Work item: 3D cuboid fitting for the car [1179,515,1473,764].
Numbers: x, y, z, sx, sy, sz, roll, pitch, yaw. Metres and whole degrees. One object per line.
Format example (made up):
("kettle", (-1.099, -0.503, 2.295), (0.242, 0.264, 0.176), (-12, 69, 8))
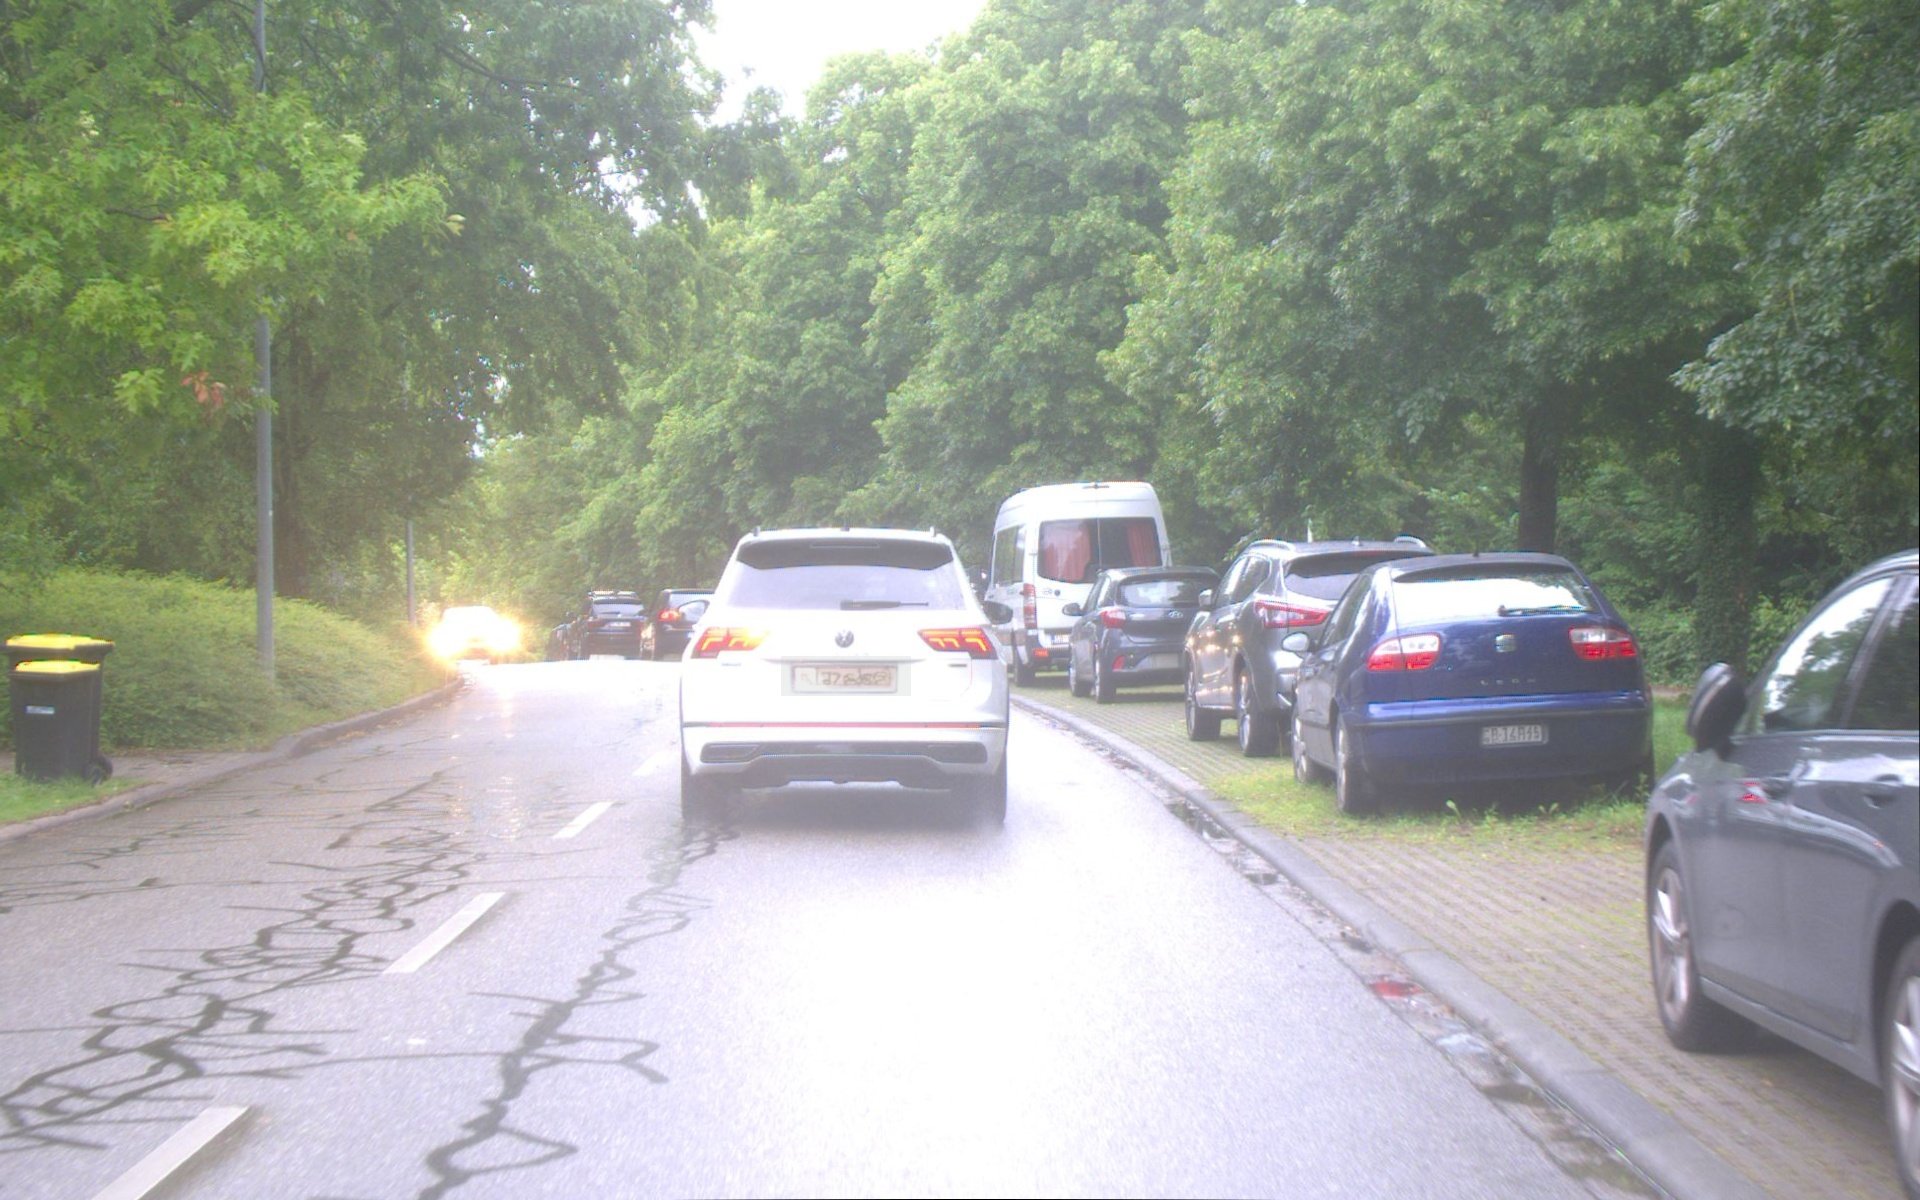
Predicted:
("car", (2.725, 0.247, 26.467), (1.781, 1.713, 4.261), (-2, 1, 0))

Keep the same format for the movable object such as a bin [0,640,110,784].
("movable object such as a bin", (-6.408, 0.784, 24.266), (0.648, 0.976, 0.578), (1, 1, 1))

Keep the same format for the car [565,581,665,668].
("car", (-8.637, 0.587, 85.787), (1.993, 2.006, 4.001), (-1, 2, -13))

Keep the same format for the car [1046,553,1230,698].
("car", (1.956, 0.248, 38.633), (1.865, 1.506, 3.725), (-1, 1, 0))

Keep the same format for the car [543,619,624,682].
("car", (-12.992, 1.771, 118.342), (1.993, 1.903, 5.509), (-1, -3, -14))

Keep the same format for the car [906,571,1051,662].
("car", (0.283, 0.257, 60.338), (1.993, 1.492, 4.567), (-1, 1, -7))

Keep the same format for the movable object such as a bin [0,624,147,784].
("movable object such as a bin", (-6.547, 0.742, 24.967), (1.037, 1.101, 0.966), (1, 1, 1))

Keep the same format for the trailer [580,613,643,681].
("trailer", (-11.542, 1.563, 113.697), (1.529, 2.069, 4.000), (-2, -2, -13))

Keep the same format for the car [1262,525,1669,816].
("car", (2.836, 0.338, 20.073), (1.743, 1.447, 4.000), (-3, 1, 0))

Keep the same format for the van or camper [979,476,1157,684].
("van or camper", (1.382, -0.320, 47.304), (2.016, 2.574, 8.436), (1, 1, -1))

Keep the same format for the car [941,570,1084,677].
("car", (0.771, 0.336, 53.302), (1.805, 1.534, 4.268), (-2, 0, -4))

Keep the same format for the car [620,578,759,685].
("car", (-5.558, 0.606, 70.235), (1.993, 2.006, 4.001), (-1, 2, -17))

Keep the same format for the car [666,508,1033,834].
("car", (-0.696, 0.360, 20.339), (1.905, 1.679, 4.201), (-1, 0, -3))

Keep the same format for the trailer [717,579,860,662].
("trailer", (-4.177, 0.521, 82.629), (2.448, 1.807, 5.893), (-1, -1, -12))

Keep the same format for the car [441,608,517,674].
("car", (-11.881, 1.003, 85.003), (1.665, 1.472, 3.732), (-3, 1, -6))

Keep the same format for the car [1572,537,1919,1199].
("car", (2.783, 0.566, 8.550), (1.700, 1.456, 4.217), (-2, 1, 0))
